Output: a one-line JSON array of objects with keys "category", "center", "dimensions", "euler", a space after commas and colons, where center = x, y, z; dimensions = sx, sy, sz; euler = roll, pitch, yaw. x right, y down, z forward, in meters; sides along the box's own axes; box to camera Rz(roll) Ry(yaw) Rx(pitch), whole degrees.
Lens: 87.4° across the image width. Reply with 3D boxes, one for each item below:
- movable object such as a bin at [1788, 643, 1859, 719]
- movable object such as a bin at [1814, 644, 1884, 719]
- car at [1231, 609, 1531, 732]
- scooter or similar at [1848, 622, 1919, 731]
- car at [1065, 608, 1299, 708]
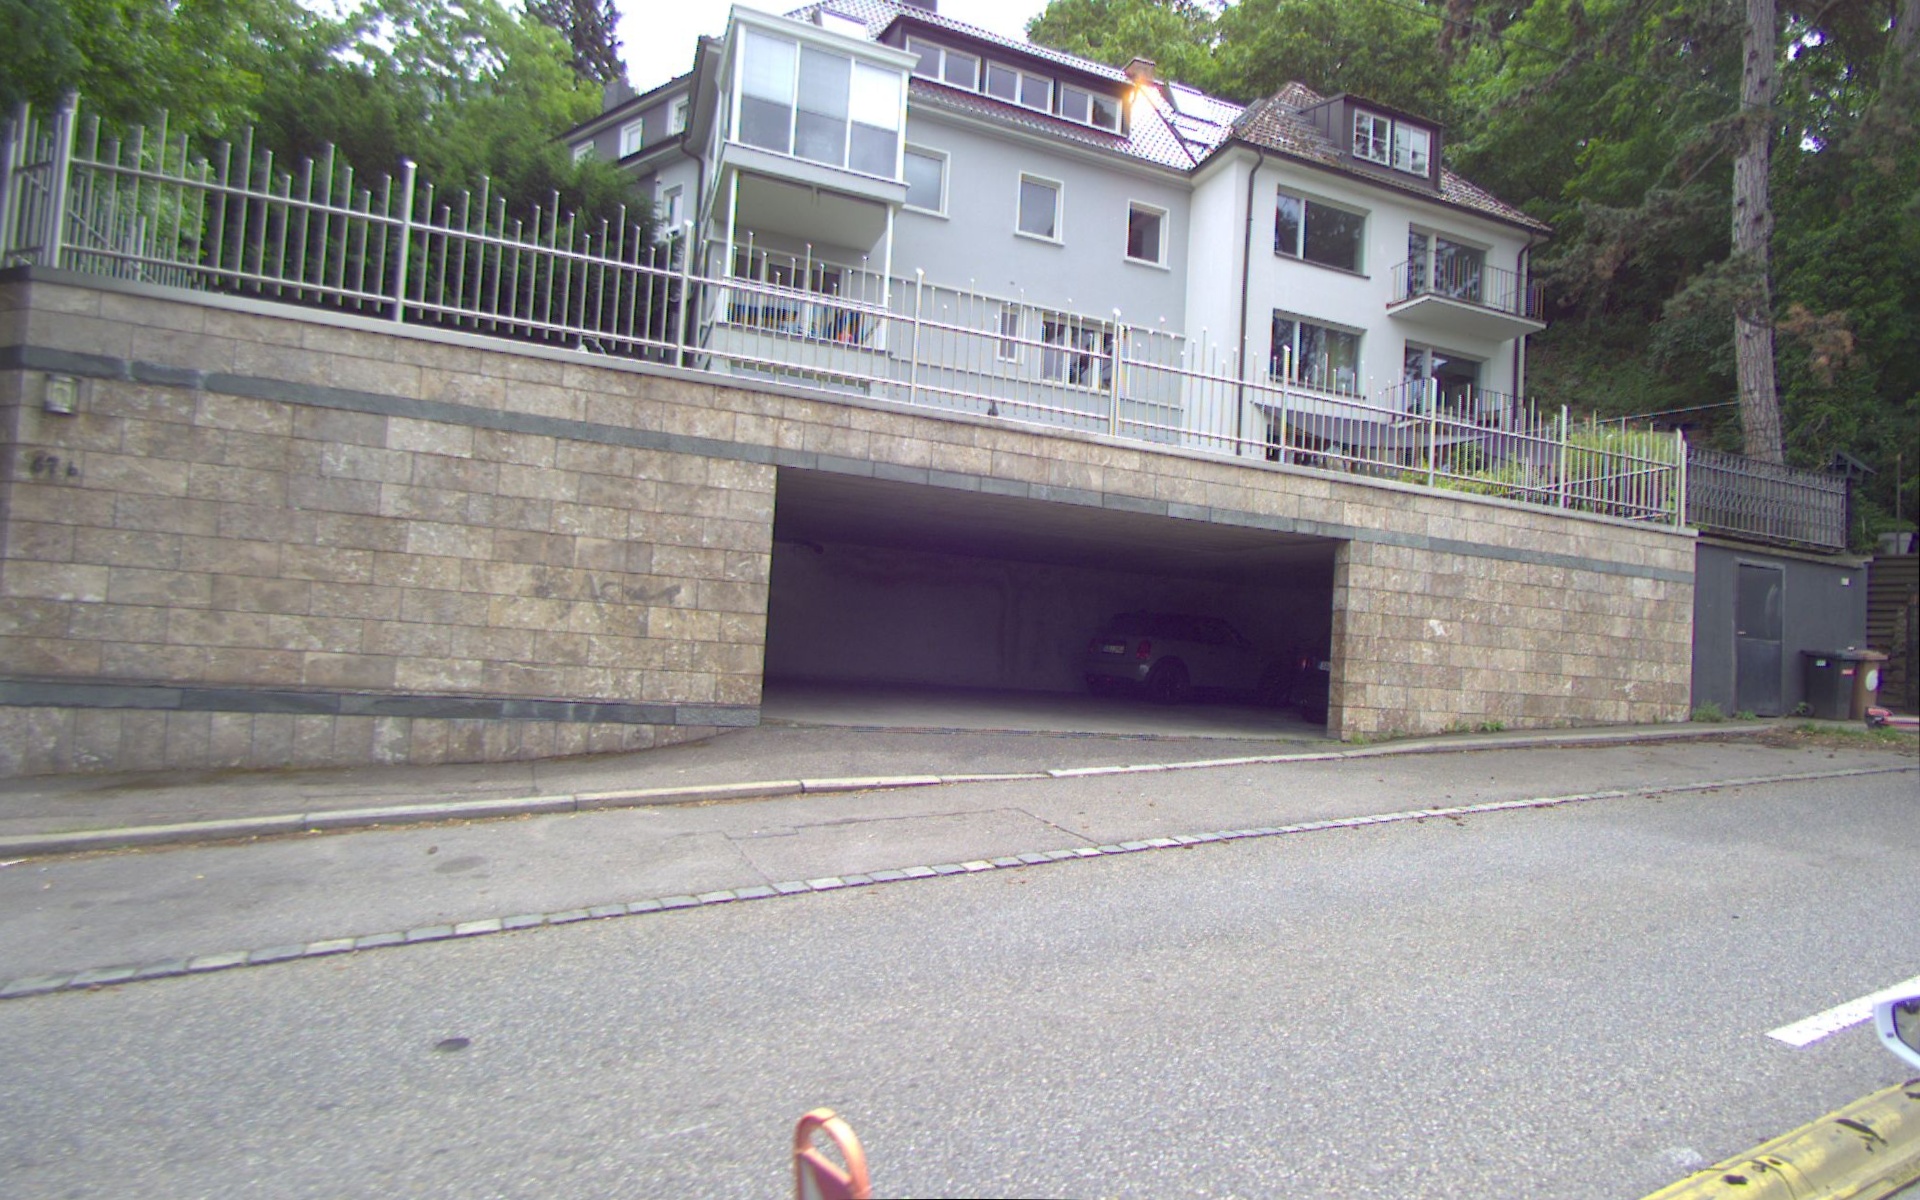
[{"category": "movable object such as a bin", "center": [11.649, 1.086, 13.557], "dimensions": [0.502, 0.990, 0.548], "euler": [1, -1, -19]}, {"category": "movable object such as a bin", "center": [12.164, 1.101, 13.744], "dimensions": [0.502, 0.990, 0.548], "euler": [1, -1, -19]}, {"category": "car", "center": [5.887, 0.976, 14.086], "dimensions": [3.650, 1.472, 1.778], "euler": [4, -1, -22]}, {"category": "scooter or similar", "center": [11.509, 0.919, 12.016], "dimensions": [1.294, 1.272, 0.464], "euler": [1, 0, 44]}, {"category": "car", "center": [3.695, 0.967, 16.663], "dimensions": [3.505, 1.438, 1.761], "euler": [4, -1, -31]}]
